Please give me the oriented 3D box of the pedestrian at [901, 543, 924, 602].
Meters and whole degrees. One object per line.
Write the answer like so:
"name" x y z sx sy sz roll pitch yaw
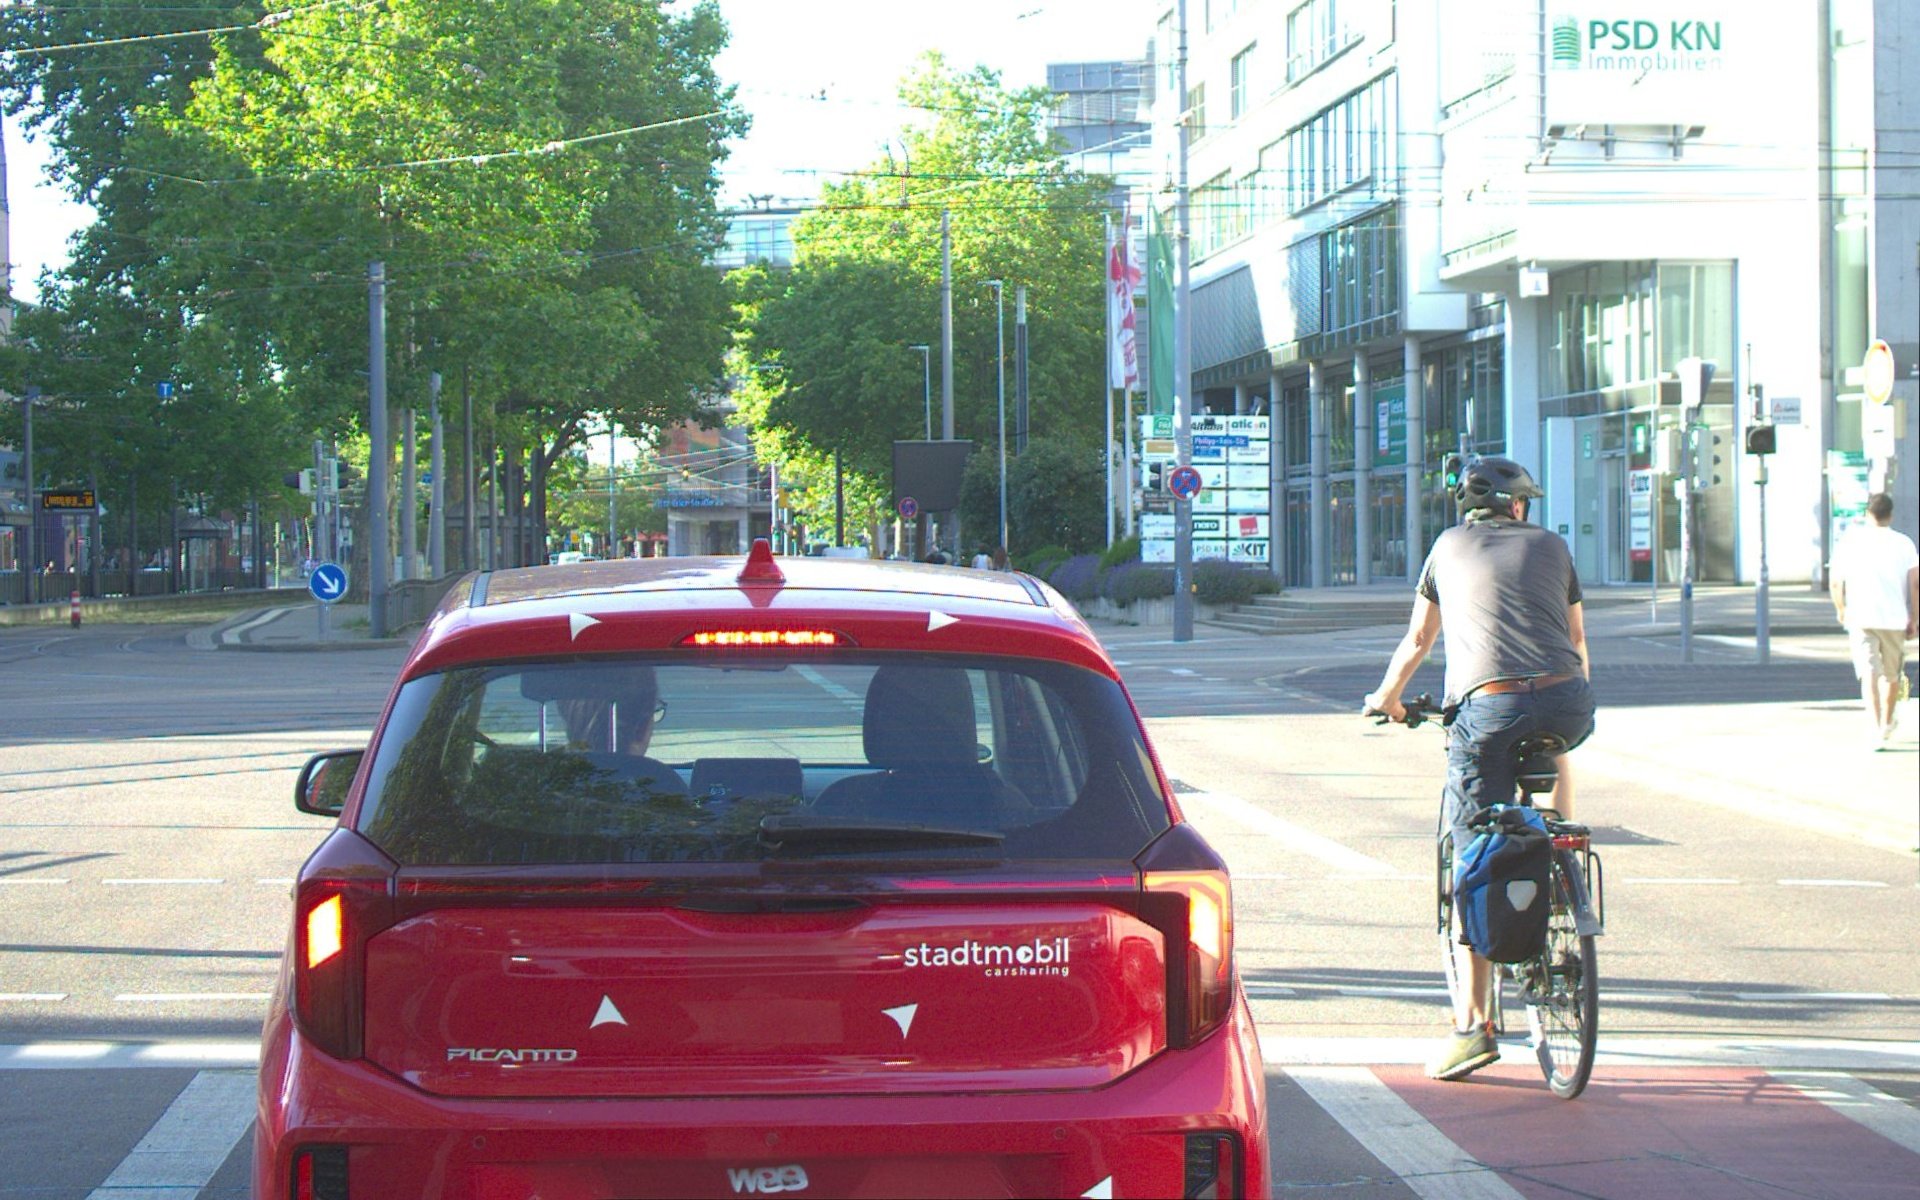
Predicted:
"pedestrian" -1.344 -0.787 97.485 0.646 1.674 0.651 -1 1 0

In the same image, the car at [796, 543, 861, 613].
"car" -3.459 -0.598 90.081 1.635 1.794 3.330 -1 1 -3

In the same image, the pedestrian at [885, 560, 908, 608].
"pedestrian" -2.133 -0.543 115.431 0.642 1.574 0.723 -4 1 0

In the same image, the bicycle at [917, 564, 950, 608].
"bicycle" -0.706 -0.376 91.692 0.696 1.094 1.751 -4 2 -3

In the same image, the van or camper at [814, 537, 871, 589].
"van or camper" -4.553 -1.425 132.297 1.993 1.982 4.745 0 1 -4

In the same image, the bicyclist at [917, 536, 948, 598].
"bicyclist" -0.735 -0.886 91.695 0.721 1.597 1.089 -3 1 -3

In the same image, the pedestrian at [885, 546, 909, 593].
"pedestrian" -2.353 -1.135 128.530 0.891 1.747 0.841 -1 1 -1

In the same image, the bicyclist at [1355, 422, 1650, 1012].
"bicyclist" 1.539 0.309 9.893 0.650 1.597 1.089 -1 1 -1

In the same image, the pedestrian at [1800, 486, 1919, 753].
"pedestrian" 6.322 0.122 24.012 0.778 1.817 1.215 -1 1 9

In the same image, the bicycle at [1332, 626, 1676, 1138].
"bicycle" 1.521 0.740 9.923 0.650 1.276 1.966 -1 1 -1

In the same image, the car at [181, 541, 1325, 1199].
"car" -0.436 0.656 6.564 1.613 1.529 3.412 0 1 -5

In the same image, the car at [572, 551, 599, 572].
"car" -27.863 -2.839 255.837 1.777 1.529 3.413 0 1 -10

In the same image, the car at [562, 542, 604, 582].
"car" -19.239 -1.943 175.456 1.993 2.007 4.001 -1 1 -8

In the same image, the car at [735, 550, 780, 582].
"car" -9.939 -1.680 168.577 1.777 1.529 3.513 0 1 -10
